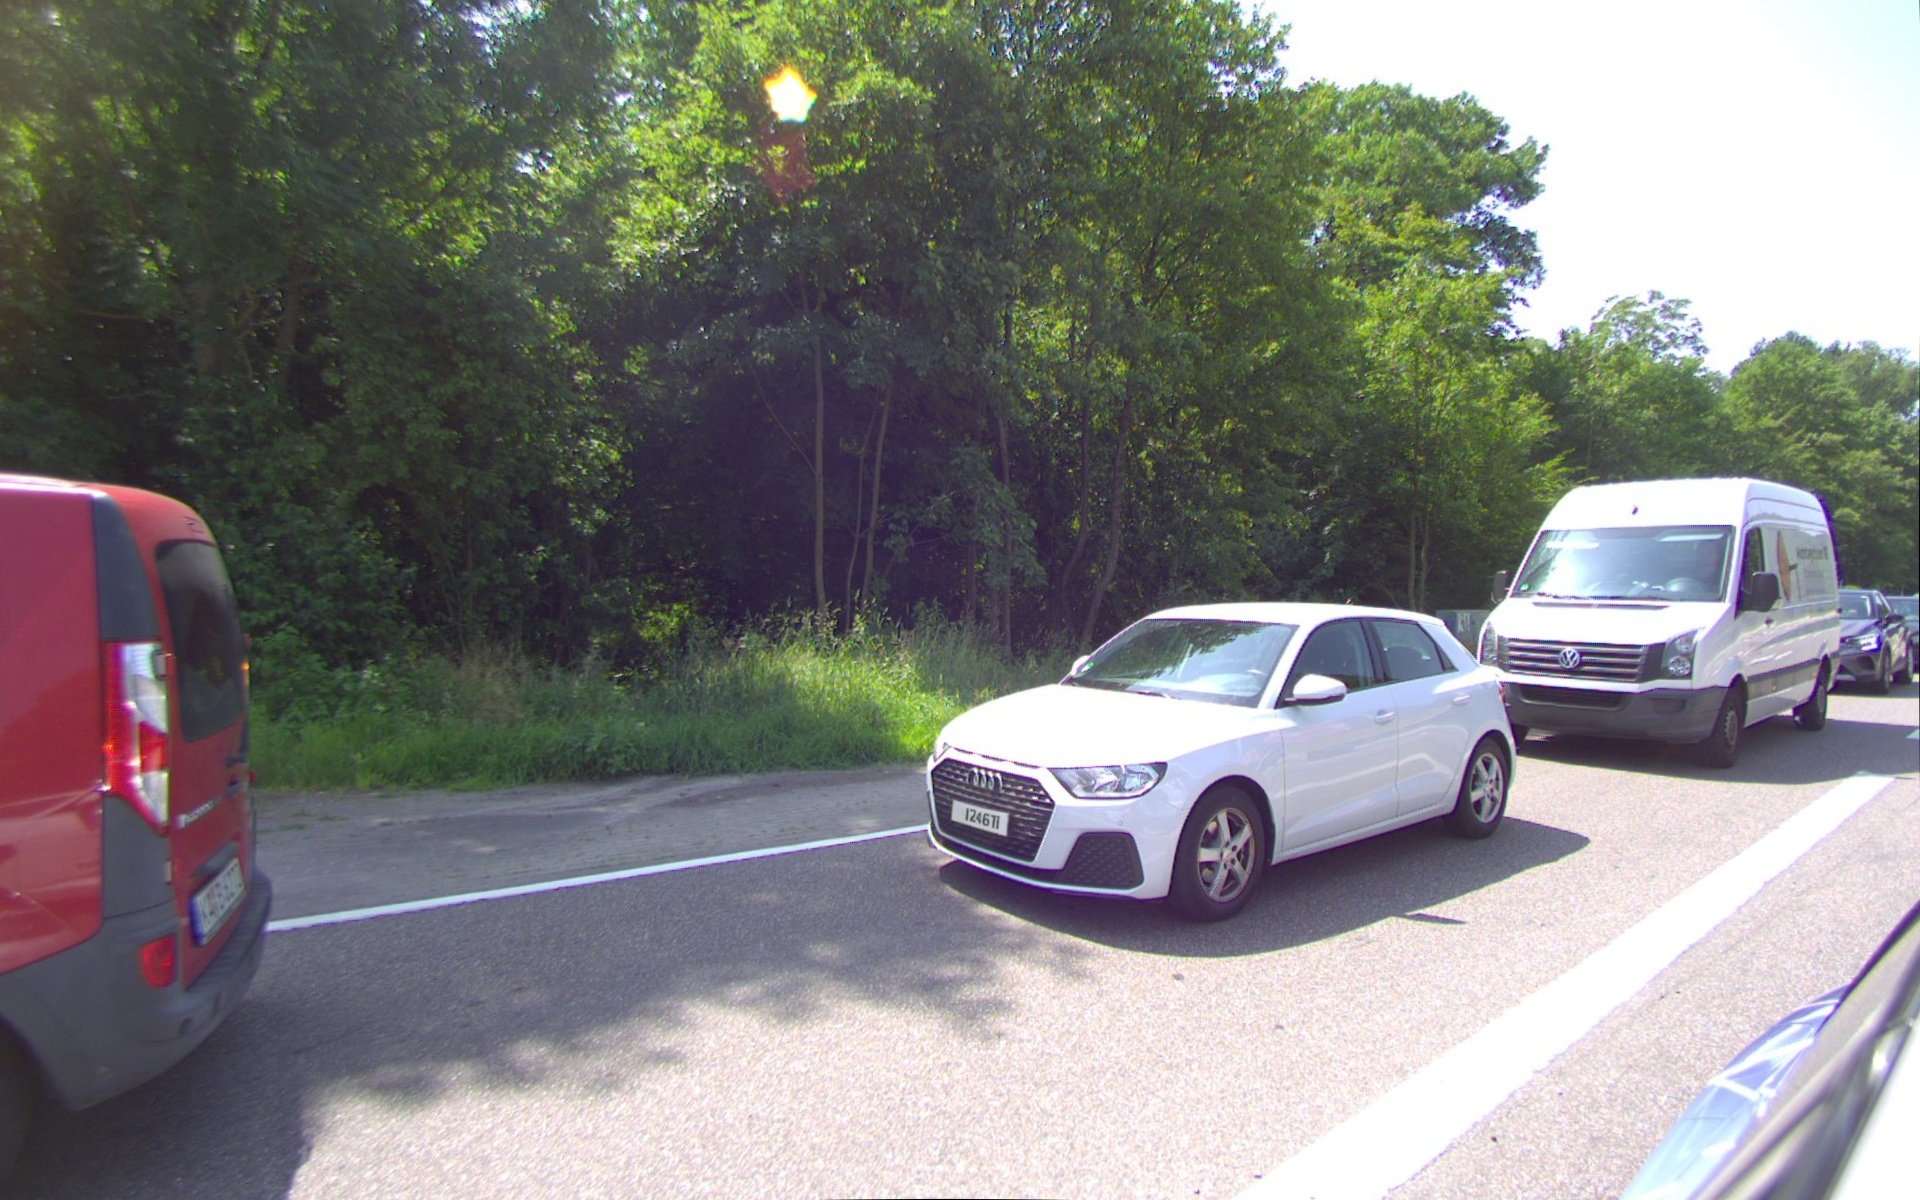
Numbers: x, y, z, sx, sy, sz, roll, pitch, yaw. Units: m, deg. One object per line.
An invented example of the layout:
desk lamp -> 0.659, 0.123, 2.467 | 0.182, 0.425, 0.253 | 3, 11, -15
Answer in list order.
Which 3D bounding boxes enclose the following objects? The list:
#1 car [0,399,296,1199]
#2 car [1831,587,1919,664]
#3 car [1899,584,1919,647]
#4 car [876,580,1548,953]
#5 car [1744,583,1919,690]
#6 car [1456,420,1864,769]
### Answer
car -> -4.079, 0.486, 2.082 | 4.406, 1.846, 1.799 | 0, 0, -29
car -> 18.813, 0.443, 20.075 | 4.156, 1.372, 1.795 | -1, 2, -42
car -> 24.411, 0.362, 24.715 | 4.156, 1.457, 1.795 | -1, 2, -42
car -> 1.627, 0.641, 5.835 | 3.927, 1.454, 1.694 | -1, 0, -38
car -> 13.952, 0.473, 15.966 | 4.156, 1.479, 1.794 | -1, 1, -42
car -> 7.471, -0.063, 10.463 | 5.952, 2.678, 1.973 | 0, 0, -40
